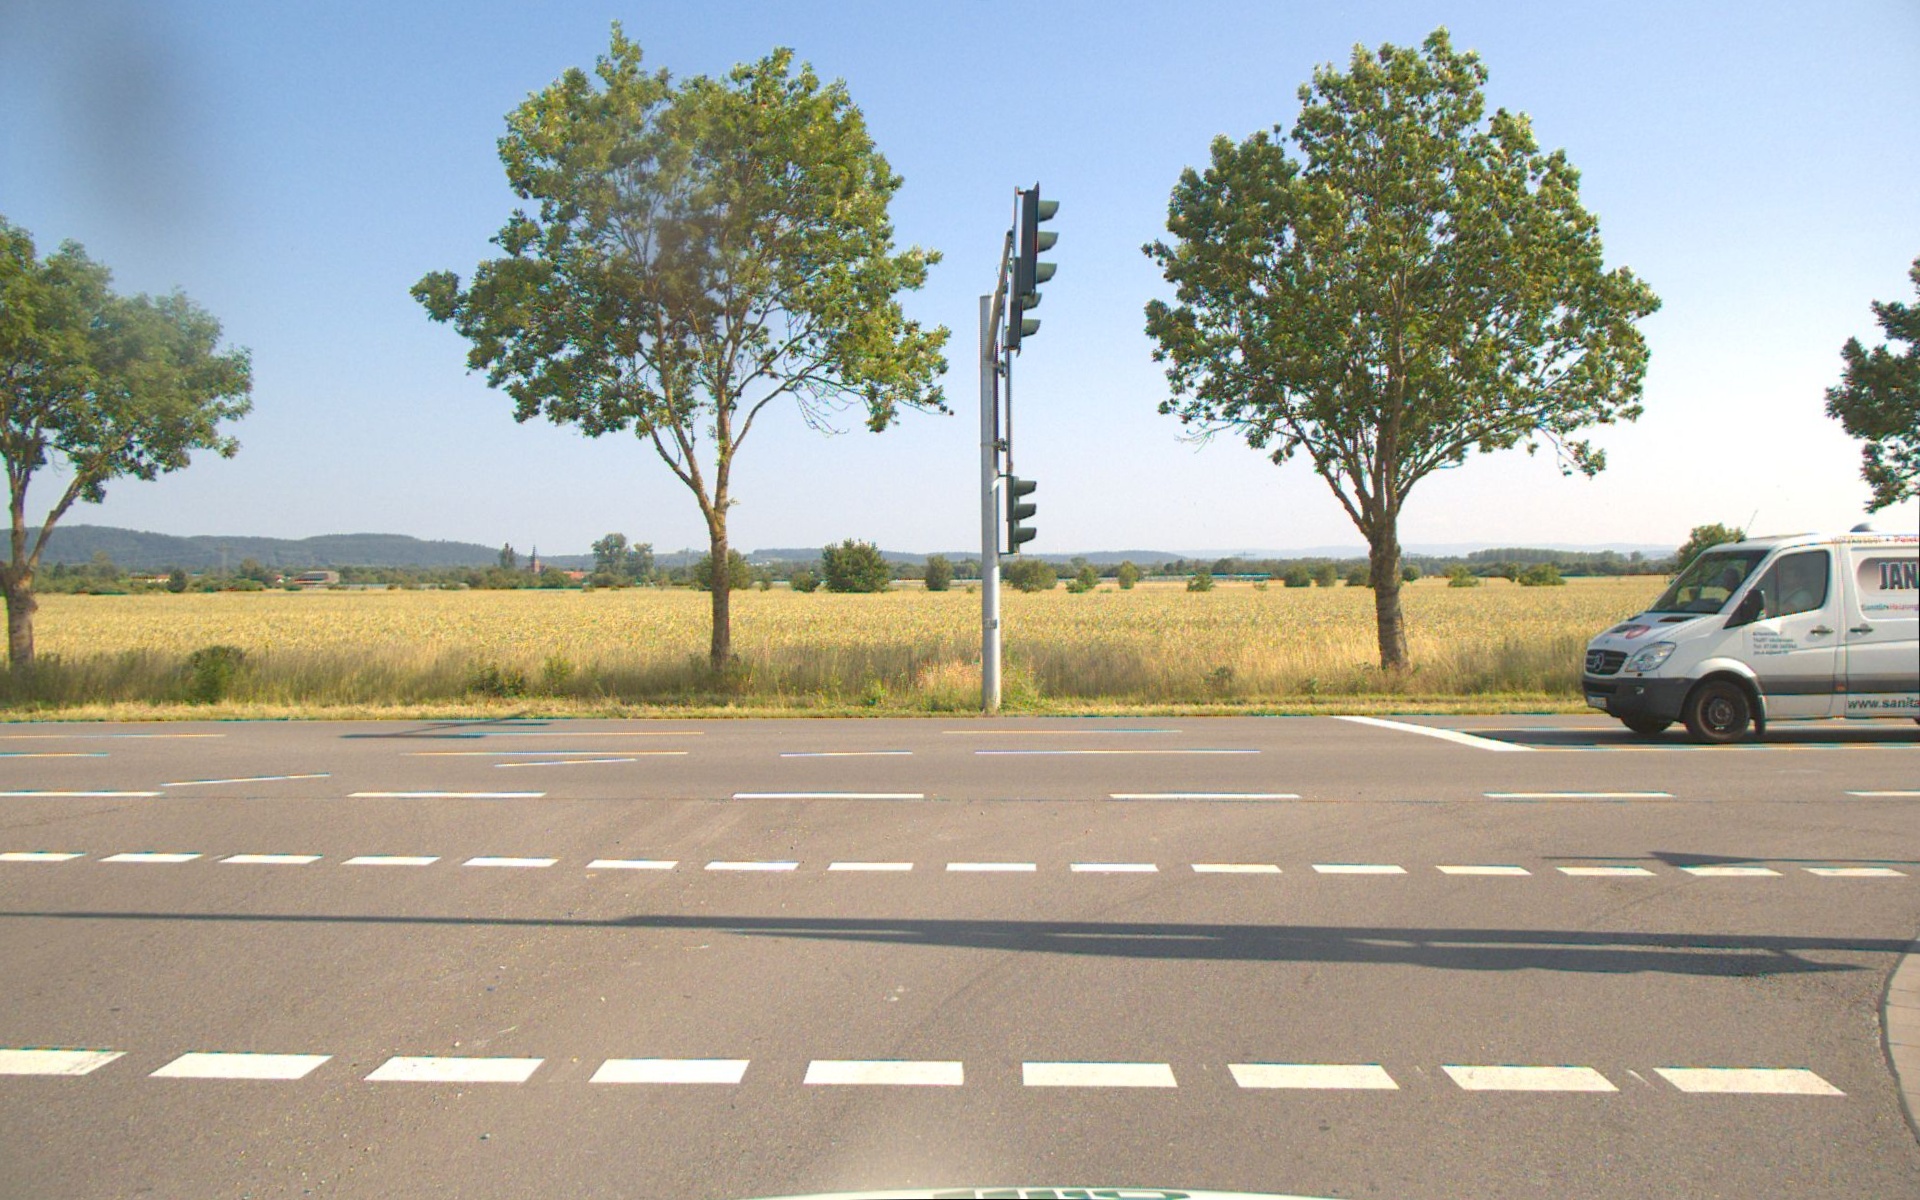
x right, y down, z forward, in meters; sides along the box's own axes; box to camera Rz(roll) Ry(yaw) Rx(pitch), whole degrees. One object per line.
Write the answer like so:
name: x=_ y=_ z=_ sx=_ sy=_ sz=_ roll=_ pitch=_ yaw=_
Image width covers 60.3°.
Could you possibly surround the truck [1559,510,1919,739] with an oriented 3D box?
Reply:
truck: x=10.254 y=0.262 z=18.937 sx=6.053 sy=2.447 sz=2.070 roll=0 pitch=-1 yaw=-2
